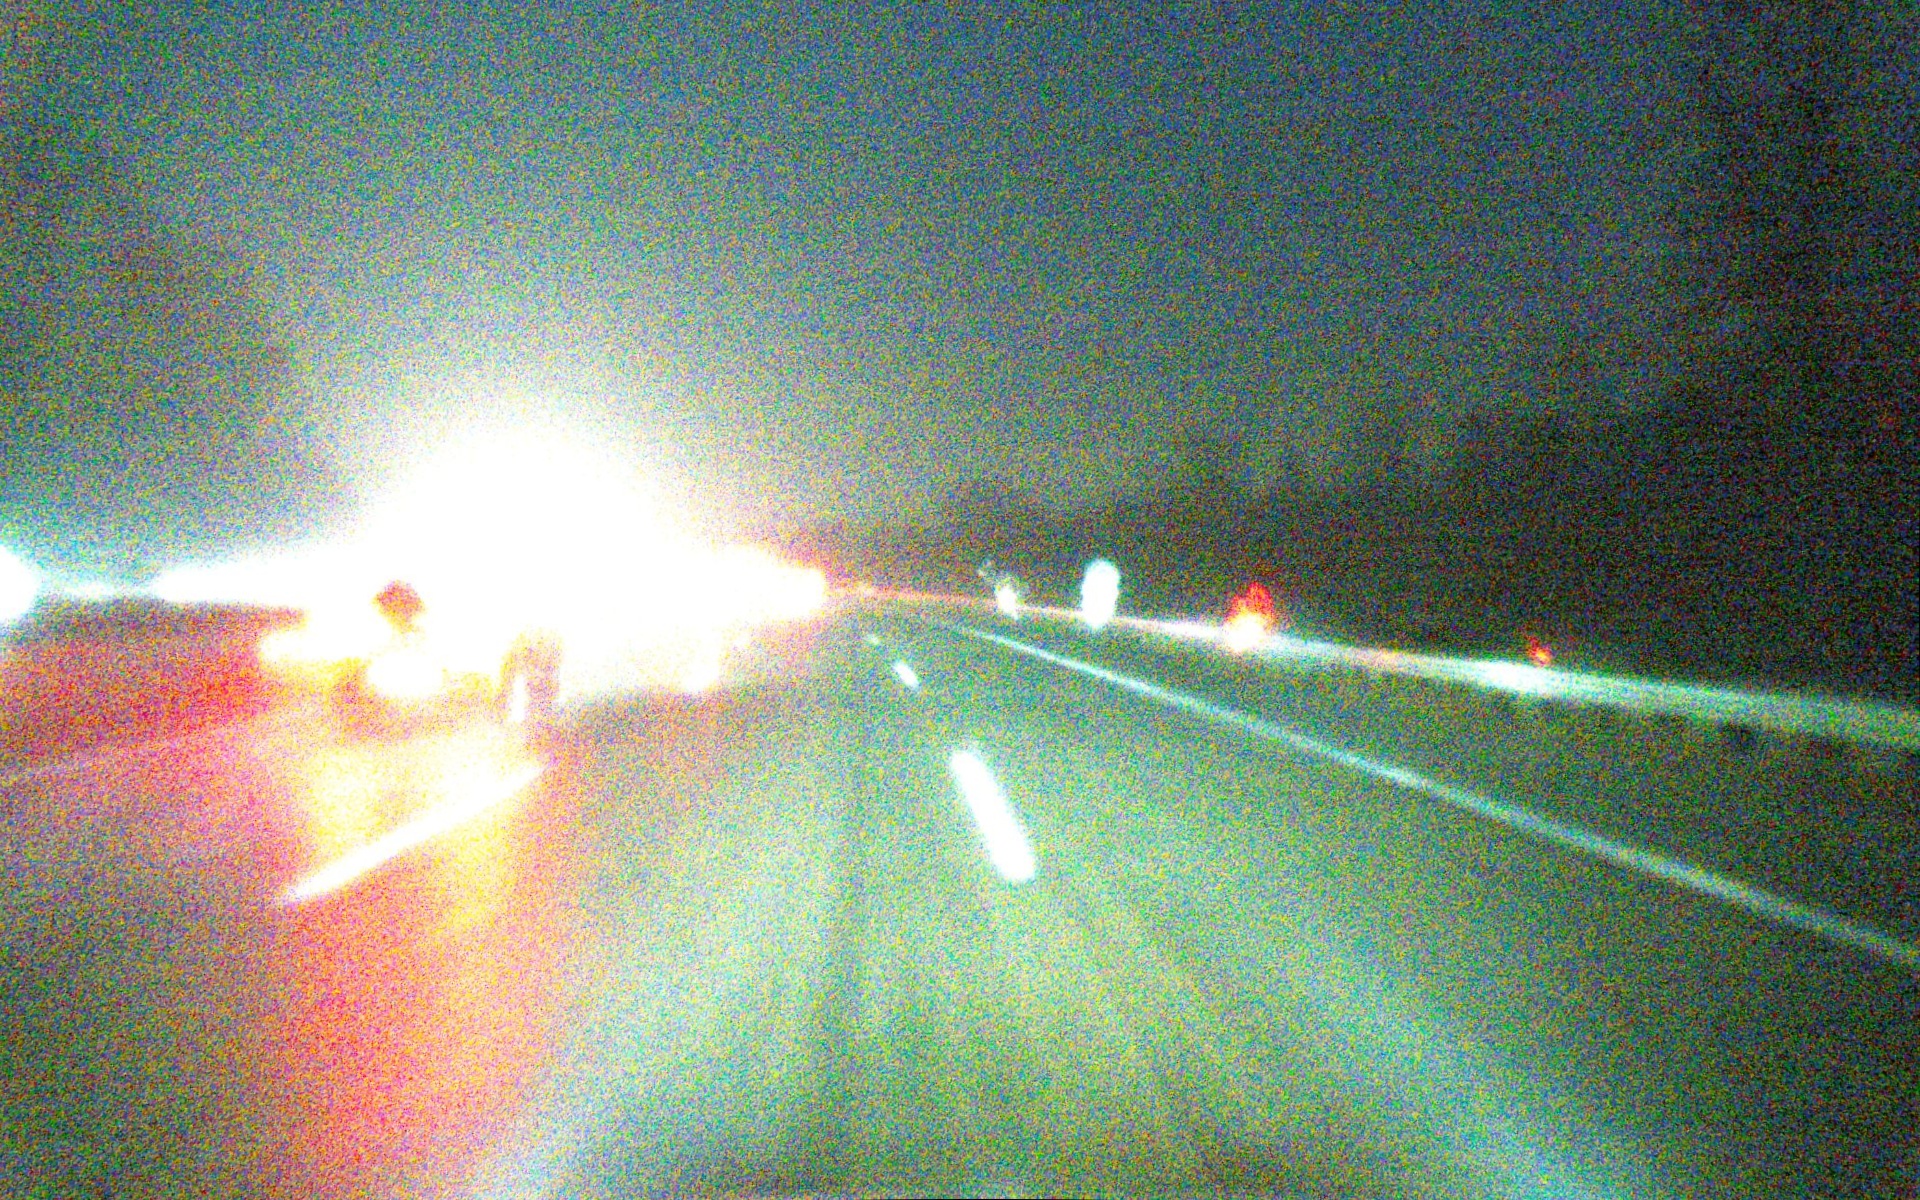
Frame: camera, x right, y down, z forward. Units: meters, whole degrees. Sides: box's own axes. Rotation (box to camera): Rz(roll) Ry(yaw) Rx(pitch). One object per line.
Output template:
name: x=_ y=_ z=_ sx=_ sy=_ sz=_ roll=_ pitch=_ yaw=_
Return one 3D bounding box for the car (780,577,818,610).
car: x=-8.009 y=-0.329 z=82.191 sx=1.767 sy=1.513 sz=3.995 roll=2 pitch=0 yaw=-6

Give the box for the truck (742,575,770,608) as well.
truck: x=-20.048 y=-0.788 z=162.653 sx=1.960 sy=3.096 sz=6.441 roll=1 pitch=-1 yaw=-14

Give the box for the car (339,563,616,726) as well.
car: x=-5.504 y=0.470 z=19.556 sx=1.821 sy=1.567 sz=4.750 roll=4 pitch=0 yaw=-1

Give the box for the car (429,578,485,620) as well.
car: x=-19.023 y=-0.054 z=62.653 sx=1.545 sy=1.519 sz=3.990 roll=1 pitch=0 yaw=-11

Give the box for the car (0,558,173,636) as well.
car: x=-18.536 y=-0.068 z=35.045 sx=1.954 sy=1.519 sz=3.998 roll=1 pitch=0 yaw=-3

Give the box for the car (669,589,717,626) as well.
car: x=-9.579 y=0.272 z=59.447 sx=1.631 sy=1.258 sz=3.753 roll=1 pitch=-1 yaw=-9

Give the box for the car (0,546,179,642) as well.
car: x=-15.291 y=-0.110 z=28.723 sx=1.707 sy=1.519 sz=3.998 roll=1 pitch=0 yaw=-3
